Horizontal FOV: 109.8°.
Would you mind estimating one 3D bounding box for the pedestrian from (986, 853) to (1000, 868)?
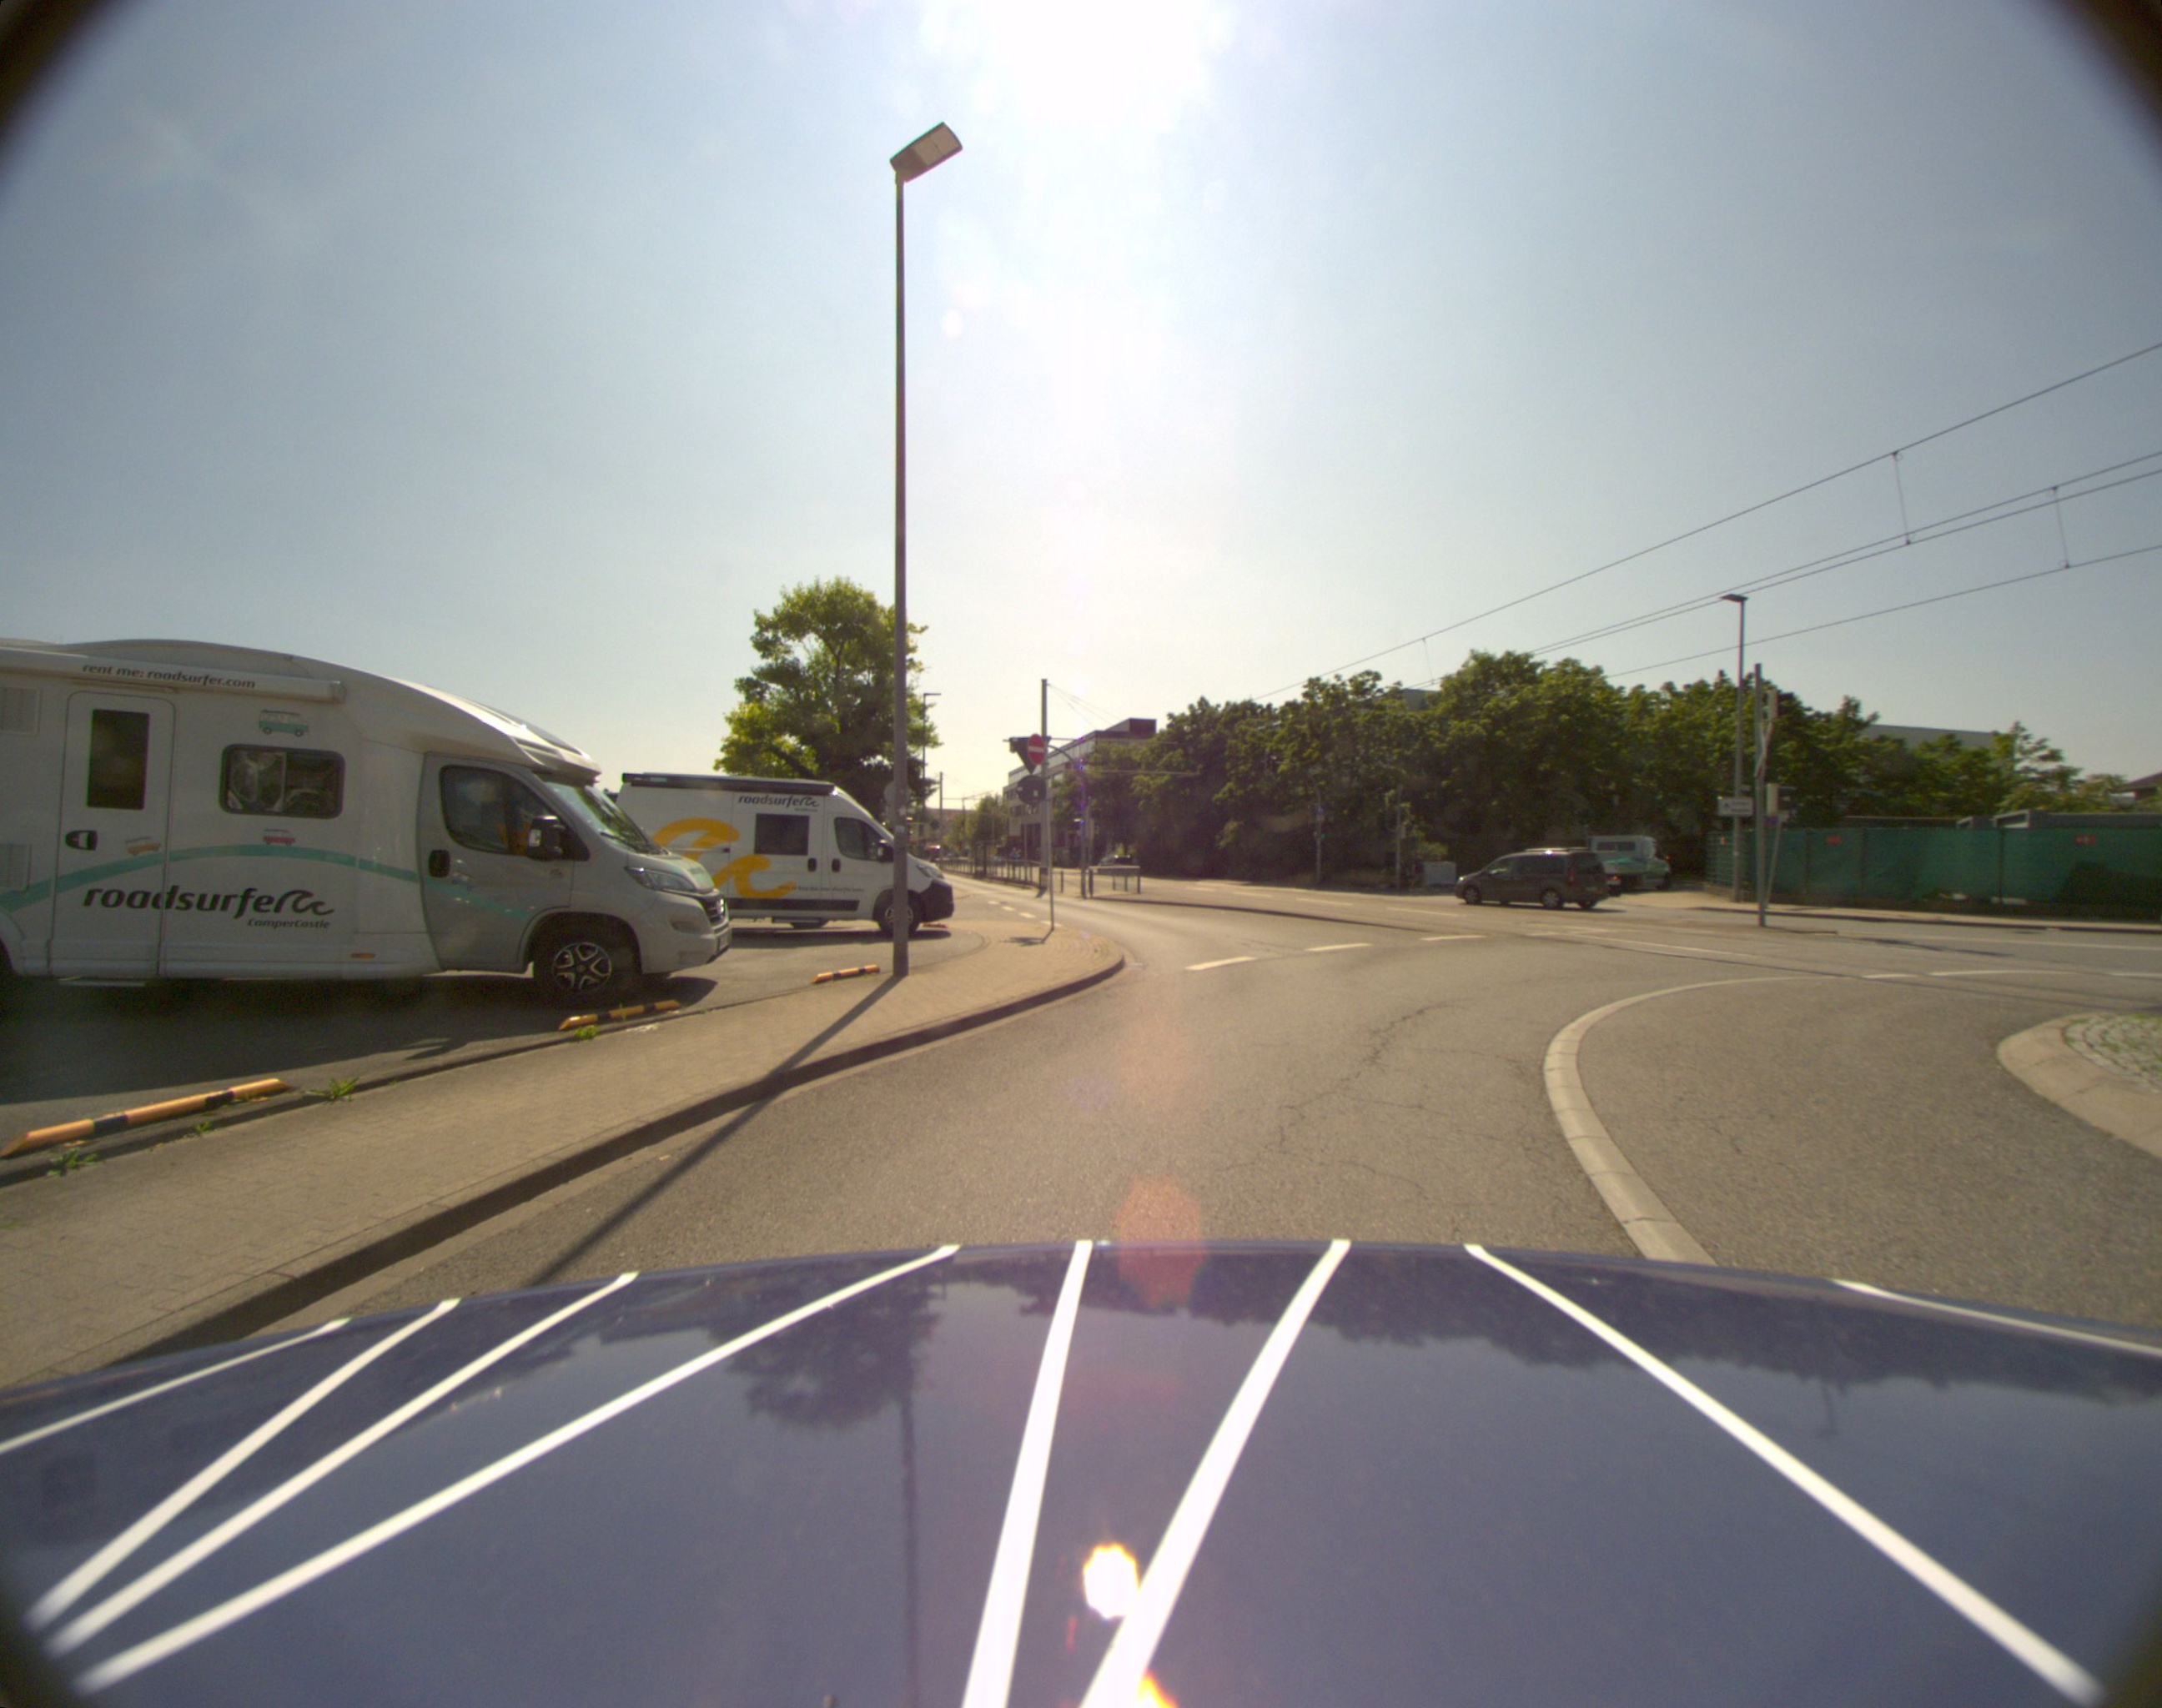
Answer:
[{"bbox_3d":[-6.469,0.487,55.960,0.946,1.093,0.725,0,0,-17],"label":"pedestrian"}]

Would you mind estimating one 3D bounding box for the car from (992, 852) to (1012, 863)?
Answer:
[{"bbox_3d":[-10.819,0.501,104.149,1.914,1.433,4.588,2,0,-17],"label":"car"}]

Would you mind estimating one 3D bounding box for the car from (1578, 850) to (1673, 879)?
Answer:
[{"bbox_3d":[29.086,0.539,40.693,1.629,1.458,3.856,0,1,-40],"label":"car"}]

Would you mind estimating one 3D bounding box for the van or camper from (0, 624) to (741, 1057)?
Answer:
[{"bbox_3d":[-6.958,-0.081,6.464,7.090,2.929,2.331,2,1,-16],"label":"van or camper"}]

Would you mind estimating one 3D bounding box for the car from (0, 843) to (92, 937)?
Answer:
[{"bbox_3d":[-19.256,0.591,12.088,3.900,1.506,1.814,0,-2,-20],"label":"car"}]

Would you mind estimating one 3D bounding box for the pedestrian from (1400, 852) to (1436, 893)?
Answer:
[{"bbox_3d":[14.902,0.794,33.647,0.889,1.662,1.157,-4,7,-17],"label":"pedestrian"}]

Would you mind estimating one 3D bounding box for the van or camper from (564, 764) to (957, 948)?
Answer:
[{"bbox_3d":[-5.184,0.075,13.144,5.833,2.757,2.088,1,0,-14],"label":"van or camper"}]

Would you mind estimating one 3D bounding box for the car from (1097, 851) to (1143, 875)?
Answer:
[{"bbox_3d":[2.929,0.683,57.958,1.935,1.574,4.183,3,1,-21],"label":"car"}]

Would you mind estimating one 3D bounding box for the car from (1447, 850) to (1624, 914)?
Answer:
[{"bbox_3d":[14.143,0.771,23.951,1.993,1.808,4.399,0,1,-27],"label":"car"}]

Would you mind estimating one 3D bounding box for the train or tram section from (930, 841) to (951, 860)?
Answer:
[{"bbox_3d":[-27.092,-0.747,145.946,2.684,3.464,12.308,0,0,-17],"label":"train or tram section"}]

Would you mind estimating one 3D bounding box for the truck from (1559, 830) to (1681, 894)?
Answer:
[{"bbox_3d":[21.691,0.276,30.451,6.402,2.323,2.203,0,0,-38],"label":"truck"}]

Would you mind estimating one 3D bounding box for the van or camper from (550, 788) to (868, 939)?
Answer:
[{"bbox_3d":[-7.329,0.186,15.651,5.526,2.797,2.046,0,-1,-12],"label":"van or camper"}]

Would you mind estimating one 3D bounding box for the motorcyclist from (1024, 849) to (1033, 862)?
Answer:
[{"bbox_3d":[-6.013,0.149,87.514,0.839,1.467,0.961,0,1,-17],"label":"motorcyclist"}]

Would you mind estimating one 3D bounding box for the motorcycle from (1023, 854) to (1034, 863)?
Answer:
[{"bbox_3d":[-6.094,0.494,87.798,0.825,1.005,1.961,0,0,-15],"label":"motorcycle"}]

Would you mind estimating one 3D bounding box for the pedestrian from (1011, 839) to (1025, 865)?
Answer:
[{"bbox_3d":[-4.230,-0.152,50.918,0.727,1.714,0.943,-1,1,-17],"label":"pedestrian"}]

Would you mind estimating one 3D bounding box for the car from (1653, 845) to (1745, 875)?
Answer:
[{"bbox_3d":[35.832,0.325,44.167,1.628,1.628,3.859,0,0,-22],"label":"car"}]
